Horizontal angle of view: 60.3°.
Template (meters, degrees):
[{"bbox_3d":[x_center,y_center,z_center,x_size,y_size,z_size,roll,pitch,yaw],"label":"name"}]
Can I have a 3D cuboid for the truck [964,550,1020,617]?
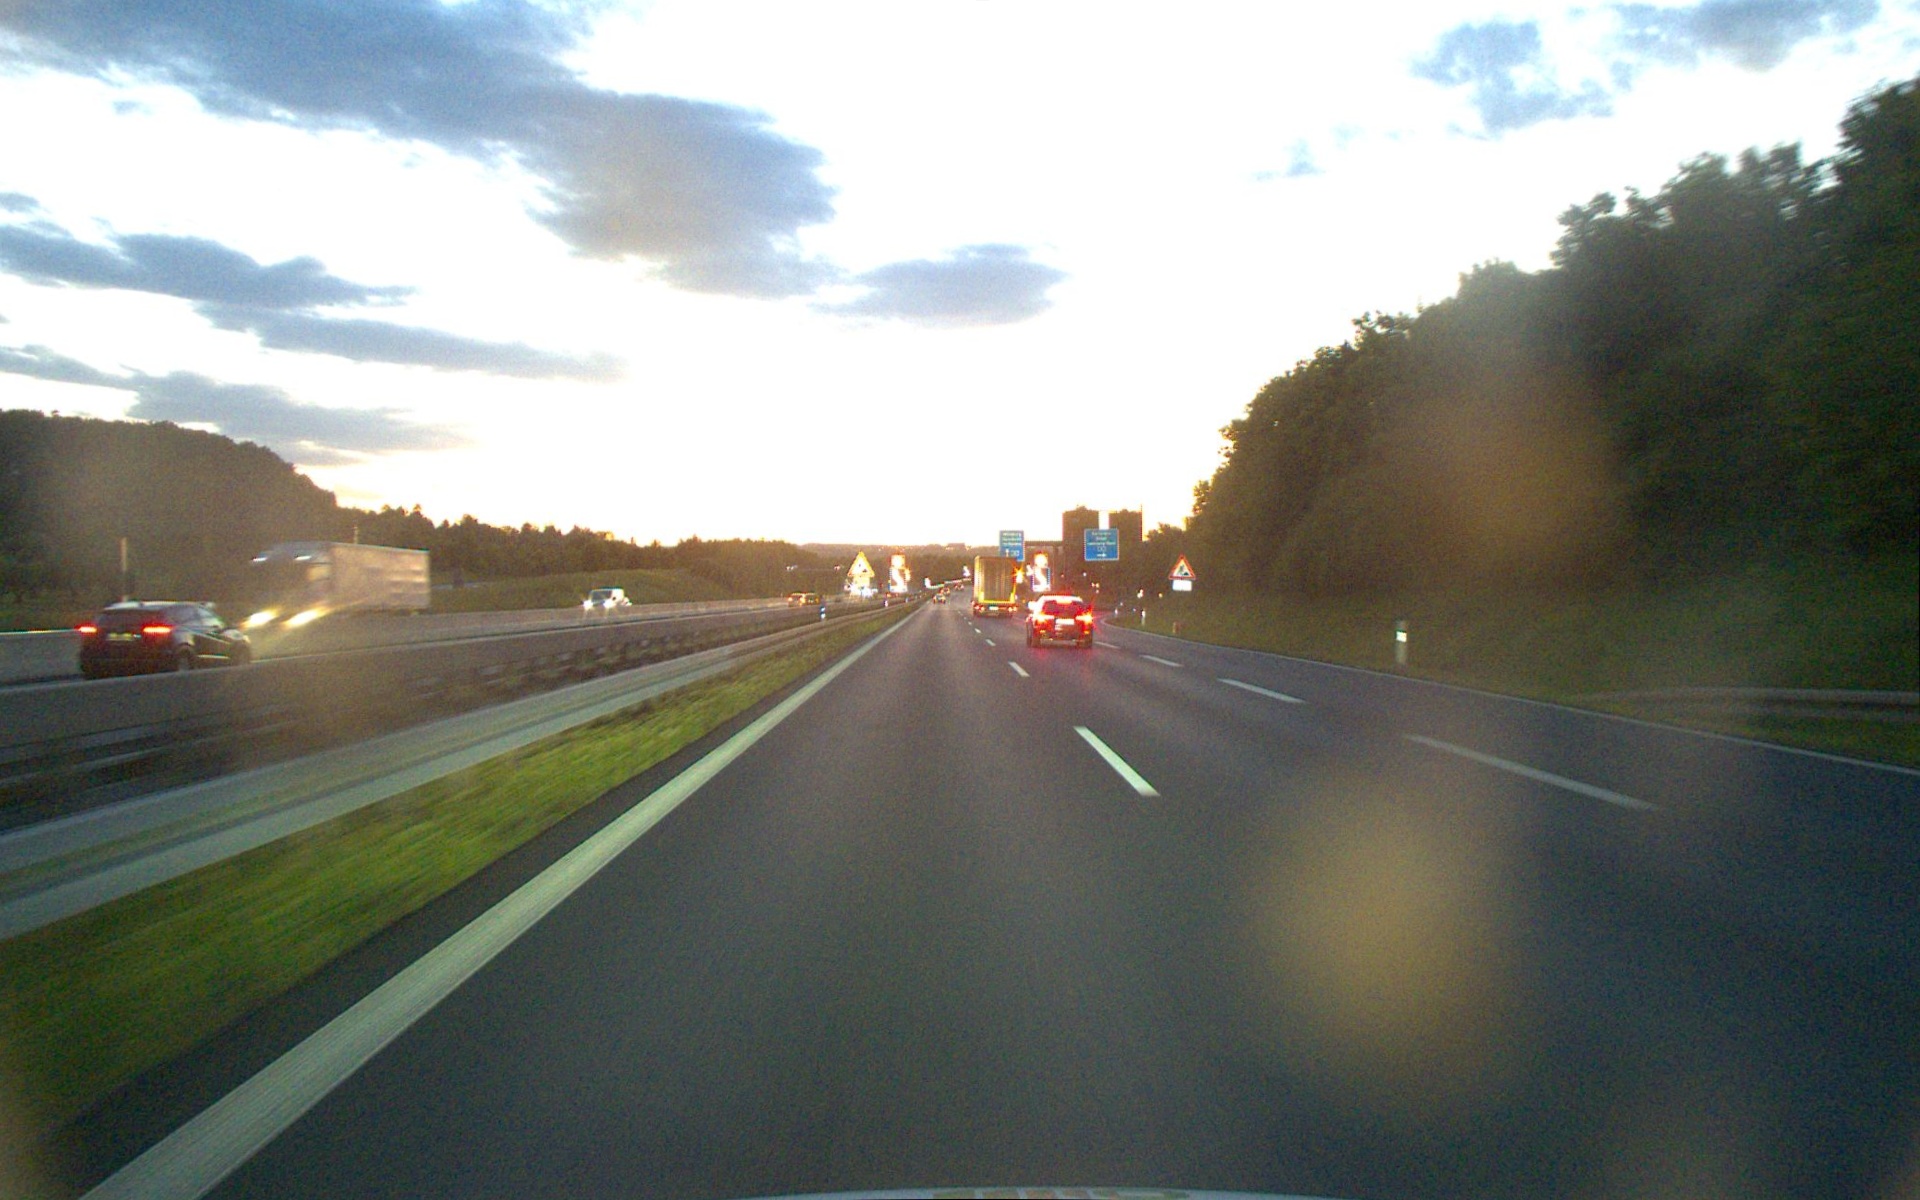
[{"bbox_3d":[2.164,-1.079,115.314,3.438,4.376,9.889,-1,0,-1],"label":"truck"}]

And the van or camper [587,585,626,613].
[{"bbox_3d":[-25.353,-0.064,118.770,1.852,1.940,5.538,0,0,-2],"label":"van or camper"}]

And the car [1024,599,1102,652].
[{"bbox_3d":[2.989,0.720,48.709,1.876,1.467,3.998,-1,0,-2],"label":"car"}]

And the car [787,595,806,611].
[{"bbox_3d":[-16.791,0.275,169.922,1.604,1.573,3.394,-1,0,-1],"label":"car"}]

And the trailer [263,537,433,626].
[{"bbox_3d":[-29.067,-0.818,79.536,3.259,3.831,13.882,-1,0,-1],"label":"trailer"}]

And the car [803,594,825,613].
[{"bbox_3d":[-13.223,0.332,150.102,1.678,1.634,3.721,-1,0,-1],"label":"car"}]

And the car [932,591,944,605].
[{"bbox_3d":[-3.441,-0.309,257.994,1.953,2.049,3.999,-1,0,-1],"label":"car"}]

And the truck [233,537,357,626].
[{"bbox_3d":[-28.932,-0.770,72.223,3.243,3.682,5.496,-1,0,-1],"label":"truck"}]

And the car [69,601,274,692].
[{"bbox_3d":[-15.158,0.838,32.098,1.834,1.588,4.519,-1,0,-1],"label":"car"}]
